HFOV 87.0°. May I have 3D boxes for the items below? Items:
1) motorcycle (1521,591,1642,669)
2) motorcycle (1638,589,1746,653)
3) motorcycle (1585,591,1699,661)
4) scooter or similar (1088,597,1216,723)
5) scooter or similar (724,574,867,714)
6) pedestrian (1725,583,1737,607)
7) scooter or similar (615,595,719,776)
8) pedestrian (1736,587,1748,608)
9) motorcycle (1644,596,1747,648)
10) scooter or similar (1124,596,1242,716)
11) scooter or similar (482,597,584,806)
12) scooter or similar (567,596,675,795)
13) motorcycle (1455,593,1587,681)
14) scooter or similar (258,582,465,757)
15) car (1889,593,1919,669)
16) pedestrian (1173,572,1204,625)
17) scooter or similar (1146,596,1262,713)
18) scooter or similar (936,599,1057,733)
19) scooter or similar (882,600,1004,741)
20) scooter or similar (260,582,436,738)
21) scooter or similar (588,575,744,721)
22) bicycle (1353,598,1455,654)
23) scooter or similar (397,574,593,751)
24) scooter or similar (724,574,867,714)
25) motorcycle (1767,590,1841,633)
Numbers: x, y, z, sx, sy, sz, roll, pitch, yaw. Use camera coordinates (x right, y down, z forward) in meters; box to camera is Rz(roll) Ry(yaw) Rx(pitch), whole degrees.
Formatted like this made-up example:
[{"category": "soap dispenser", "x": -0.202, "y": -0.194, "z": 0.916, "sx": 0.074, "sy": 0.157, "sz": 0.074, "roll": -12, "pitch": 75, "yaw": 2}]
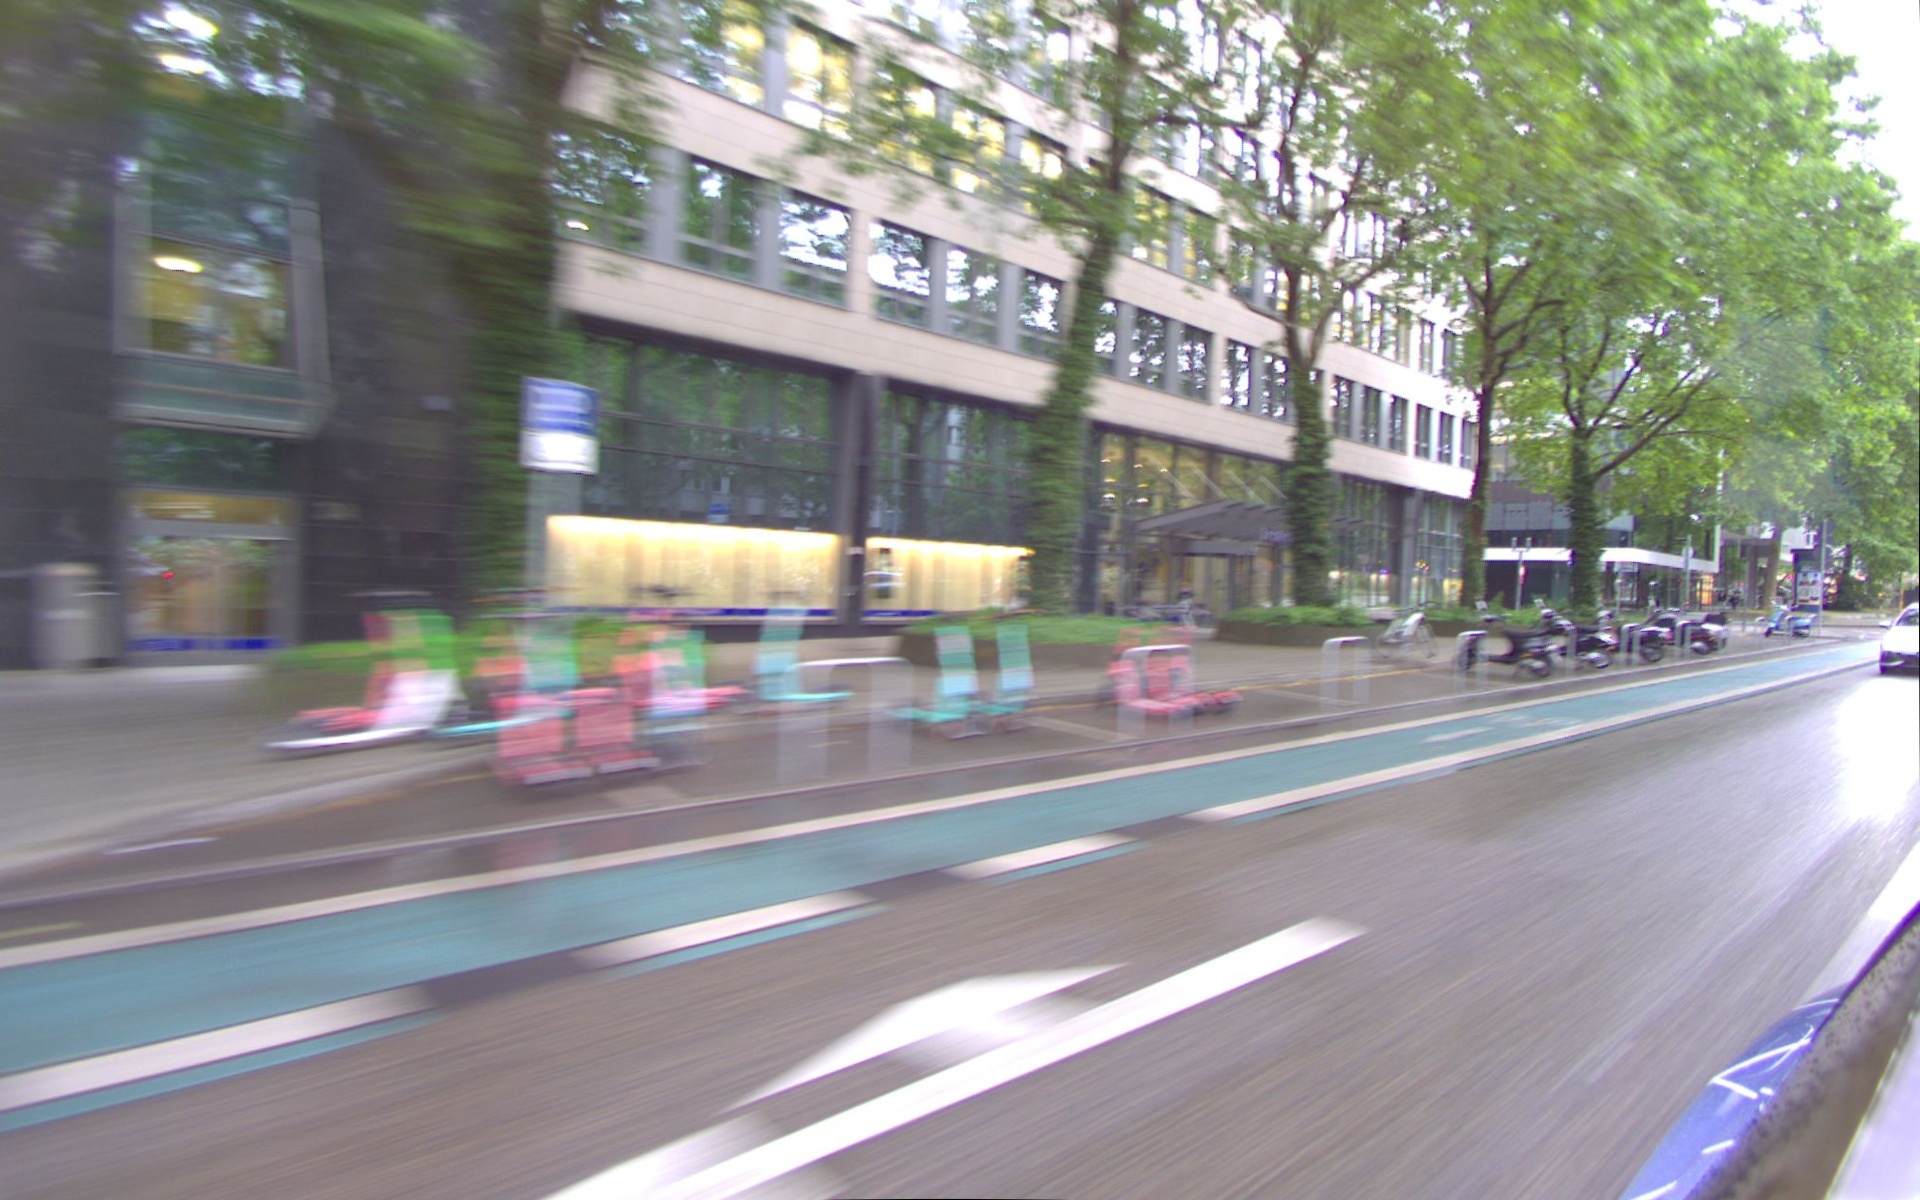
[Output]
[{"category": "motorcycle", "x": 12.318, "y": 0.571, "z": 20.143, "sx": 1.945, "sy": 1.391, "sz": 0.722, "roll": 3, "pitch": 1, "yaw": 29}, {"category": "motorcycle", "x": 18.158, "y": 0.509, "z": 25.165, "sx": 2.042, "sy": 1.446, "sz": 0.722, "roll": 3, "pitch": 1, "yaw": 29}, {"category": "motorcycle", "x": 14.972, "y": 0.545, "z": 22.281, "sx": 1.945, "sy": 1.391, "sz": 0.722, "roll": 3, "pitch": 1, "yaw": 29}, {"category": "scooter or similar", "x": 2.179, "y": 0.652, "z": 11.564, "sx": 1.288, "sy": 1.294, "sz": 0.529, "roll": 4, "pitch": 1, "yaw": 39}, {"category": "scooter or similar", "x": -1.607, "y": 0.421, "z": 9.978, "sx": 1.271, "sy": 1.275, "sz": 0.488, "roll": 2, "pitch": 1, "yaw": -41}, {"category": "pedestrian", "x": 61.920, "y": -0.379, "z": 81.265, "sx": 0.692, "sy": 1.881, "sz": 0.523, "roll": -1, "pitch": 4, "yaw": -41}, {"category": "scooter or similar", "x": -2.365, "y": 0.632, "z": 8.077, "sx": 0.479, "sy": 1.275, "sz": 1.295, "roll": 3, "pitch": 1, "yaw": -29}, {"category": "pedestrian", "x": 62.488, "y": -0.207, "z": 80.844, "sx": 0.707, "sy": 1.645, "sz": 0.527, "roll": -1, "pitch": 4, "yaw": -41}, {"category": "motorcycle", "x": 19.592, "y": 0.569, "z": 26.995, "sx": 2.030, "sy": 1.227, "sz": 0.682, "roll": 3, "pitch": 3, "yaw": 15}, {"category": "scooter or similar", "x": 2.639, "y": 0.641, "z": 12.063, "sx": 0.527, "sy": 1.294, "sz": 1.294, "roll": 2, "pitch": 1, "yaw": -36}, {"category": "scooter or similar", "x": -3.021, "y": 0.653, "z": 7.107, "sx": 0.479, "sy": 1.275, "sz": 1.295, "roll": 3, "pitch": 1, "yaw": -29}, {"category": "scooter or similar", "x": -2.520, "y": 0.645, "z": 7.443, "sx": 0.479, "sy": 1.275, "sz": 1.295, "roll": 3, "pitch": 1, "yaw": -29}, {"category": "motorcycle", "x": 9.948, "y": 0.621, "z": 17.963, "sx": 1.949, "sy": 1.391, "sz": 0.720, "roll": 4, "pitch": 1, "yaw": 34}, {"category": "scooter or similar", "x": -4.529, "y": 0.474, "z": 7.716, "sx": 0.487, "sy": 1.212, "sz": 1.275, "roll": 1, "pitch": 1, "yaw": 40}, {"category": "car", "x": 20.553, "y": 0.610, "z": 20.748, "sx": 3.726, "sy": 1.490, "sz": 1.794, "roll": 0, "pitch": 0, "yaw": -40}, {"category": "pedestrian", "x": 7.548, "y": -0.059, "z": 33.443, "sx": 0.813, "sy": 1.714, "sz": 0.729, "roll": 2, "pitch": 1, "yaw": 2}, {"category": "scooter or similar", "x": 2.957, "y": 0.635, "z": 12.362, "sx": 0.527, "sy": 1.294, "sz": 1.294, "roll": 2, "pitch": 1, "yaw": -36}, {"category": "scooter or similar", "x": 0.360, "y": 0.651, "z": 10.541, "sx": 0.480, "sy": 1.251, "sz": 1.293, "roll": 2, "pitch": 1, "yaw": -38}, {"category": "scooter or similar", "x": -0.190, "y": 0.662, "z": 10.058, "sx": 0.480, "sy": 1.251, "sz": 1.293, "roll": 2, "pitch": 1, "yaw": -38}, {"category": "scooter or similar", "x": -5.180, "y": 0.460, "z": 8.647, "sx": 0.483, "sy": 1.212, "sz": 1.286, "roll": 1, "pitch": 1, "yaw": 18}, {"category": "scooter or similar", "x": -2.741, "y": 0.434, "z": 9.499, "sx": 1.271, "sy": 1.275, "sz": 0.488, "roll": 2, "pitch": 1, "yaw": -41}, {"category": "bicycle", "x": 8.554, "y": 0.494, "z": 19.507, "sx": 1.726, "sy": 1.041, "sz": 0.640, "roll": 0, "pitch": 1, "yaw": -12}, {"category": "scooter or similar", "x": -3.636, "y": 0.466, "z": 7.957, "sx": 1.271, "sy": 1.275, "sz": 0.488, "roll": 2, "pitch": 1, "yaw": -41}, {"category": "scooter or similar", "x": -1.607, "y": 0.421, "z": 9.978, "sx": 1.271, "sy": 1.275, "sz": 0.488, "roll": 2, "pitch": 1, "yaw": -41}, {"category": "motorcycle", "x": 29.696, "y": 0.407, "z": 35.623, "sx": 1.909, "sy": 1.383, "sz": 0.685, "roll": 2, "pitch": 4, "yaw": 0}]
